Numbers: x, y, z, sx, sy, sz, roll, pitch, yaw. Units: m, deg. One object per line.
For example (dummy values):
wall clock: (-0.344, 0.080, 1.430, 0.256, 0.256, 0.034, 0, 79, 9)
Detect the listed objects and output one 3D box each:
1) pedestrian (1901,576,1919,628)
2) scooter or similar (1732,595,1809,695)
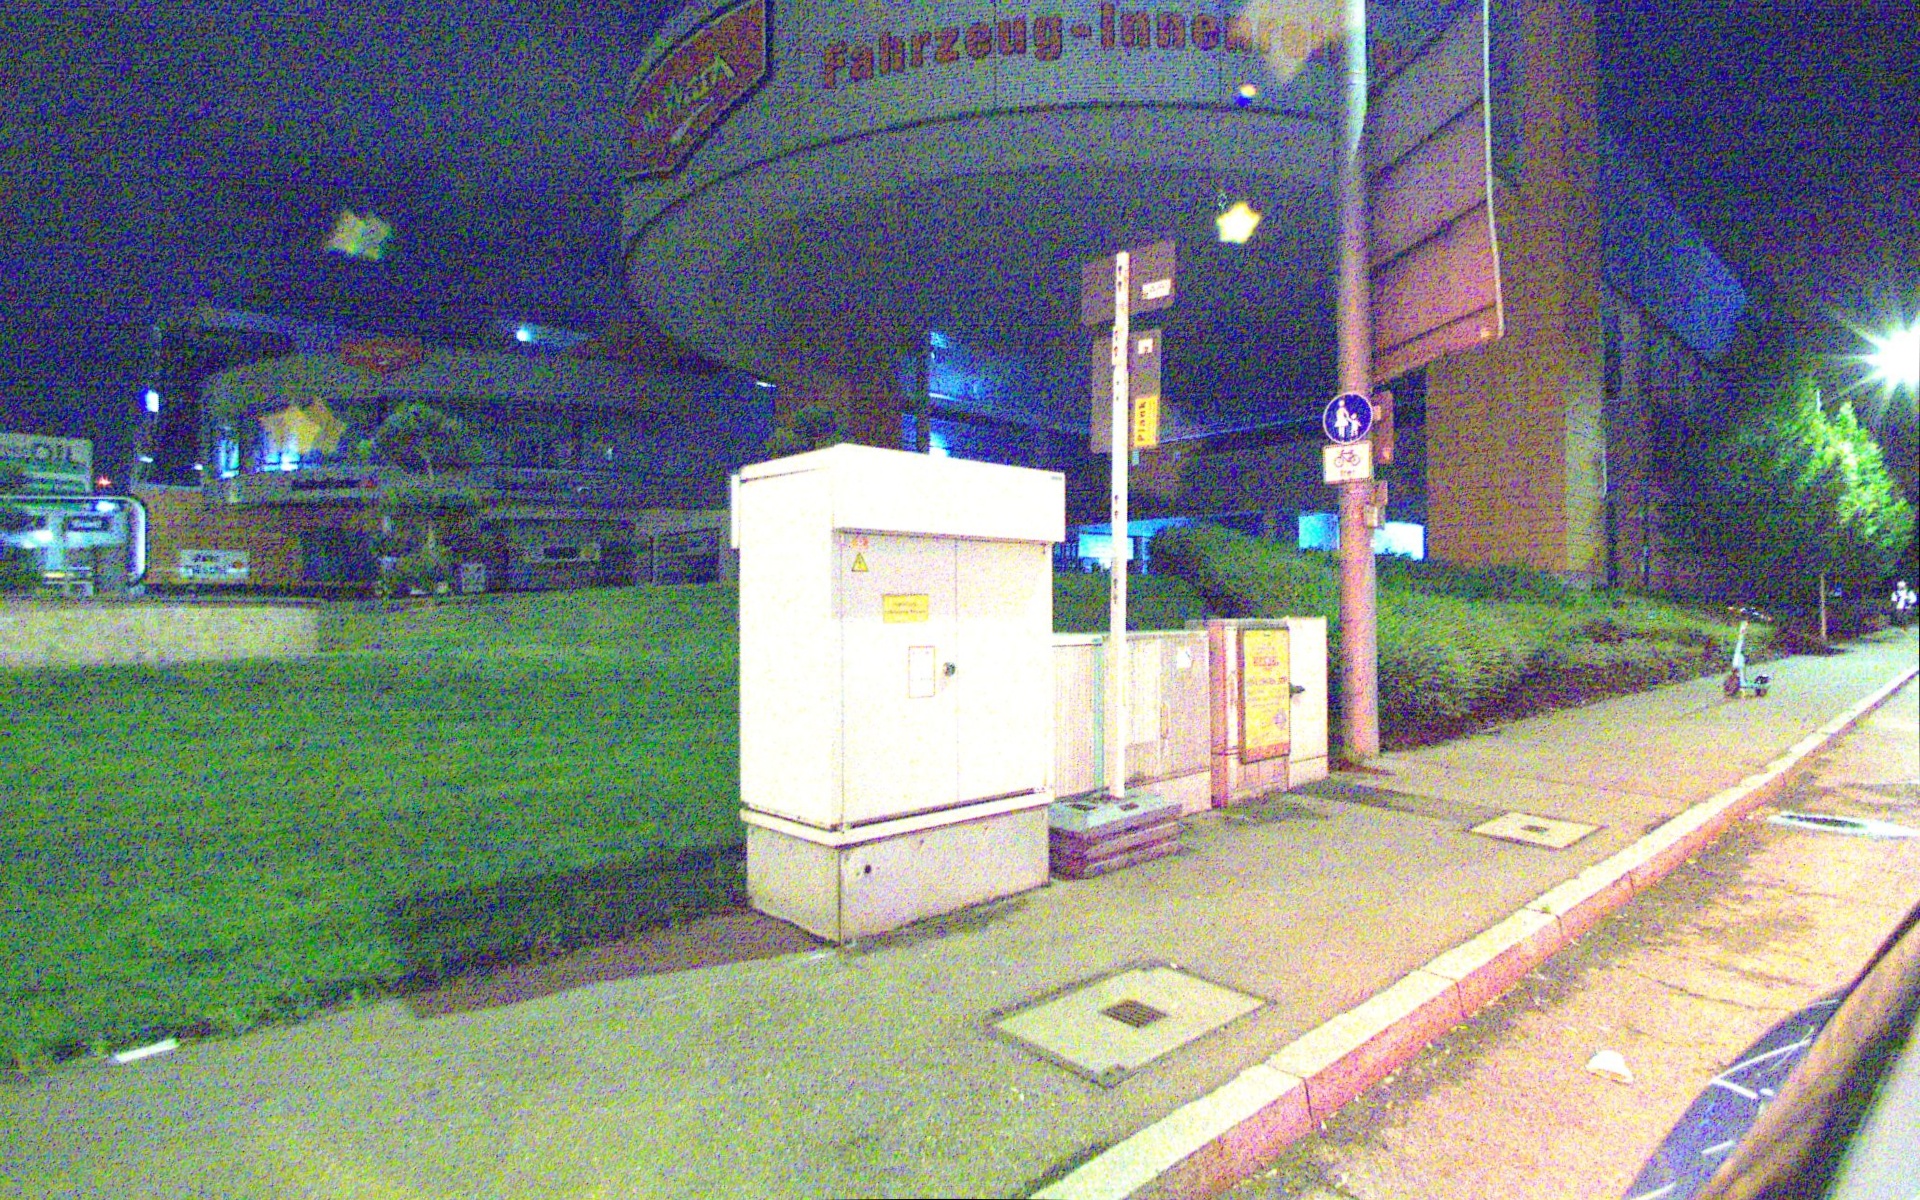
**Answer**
pedestrian: (34.244, 0.050, 36.177, 0.597, 1.842, 0.824, -1, 0, -40)
scooter or similar: (11.246, 0.595, 14.027, 1.367, 1.295, 0.569, 0, 1, -41)
